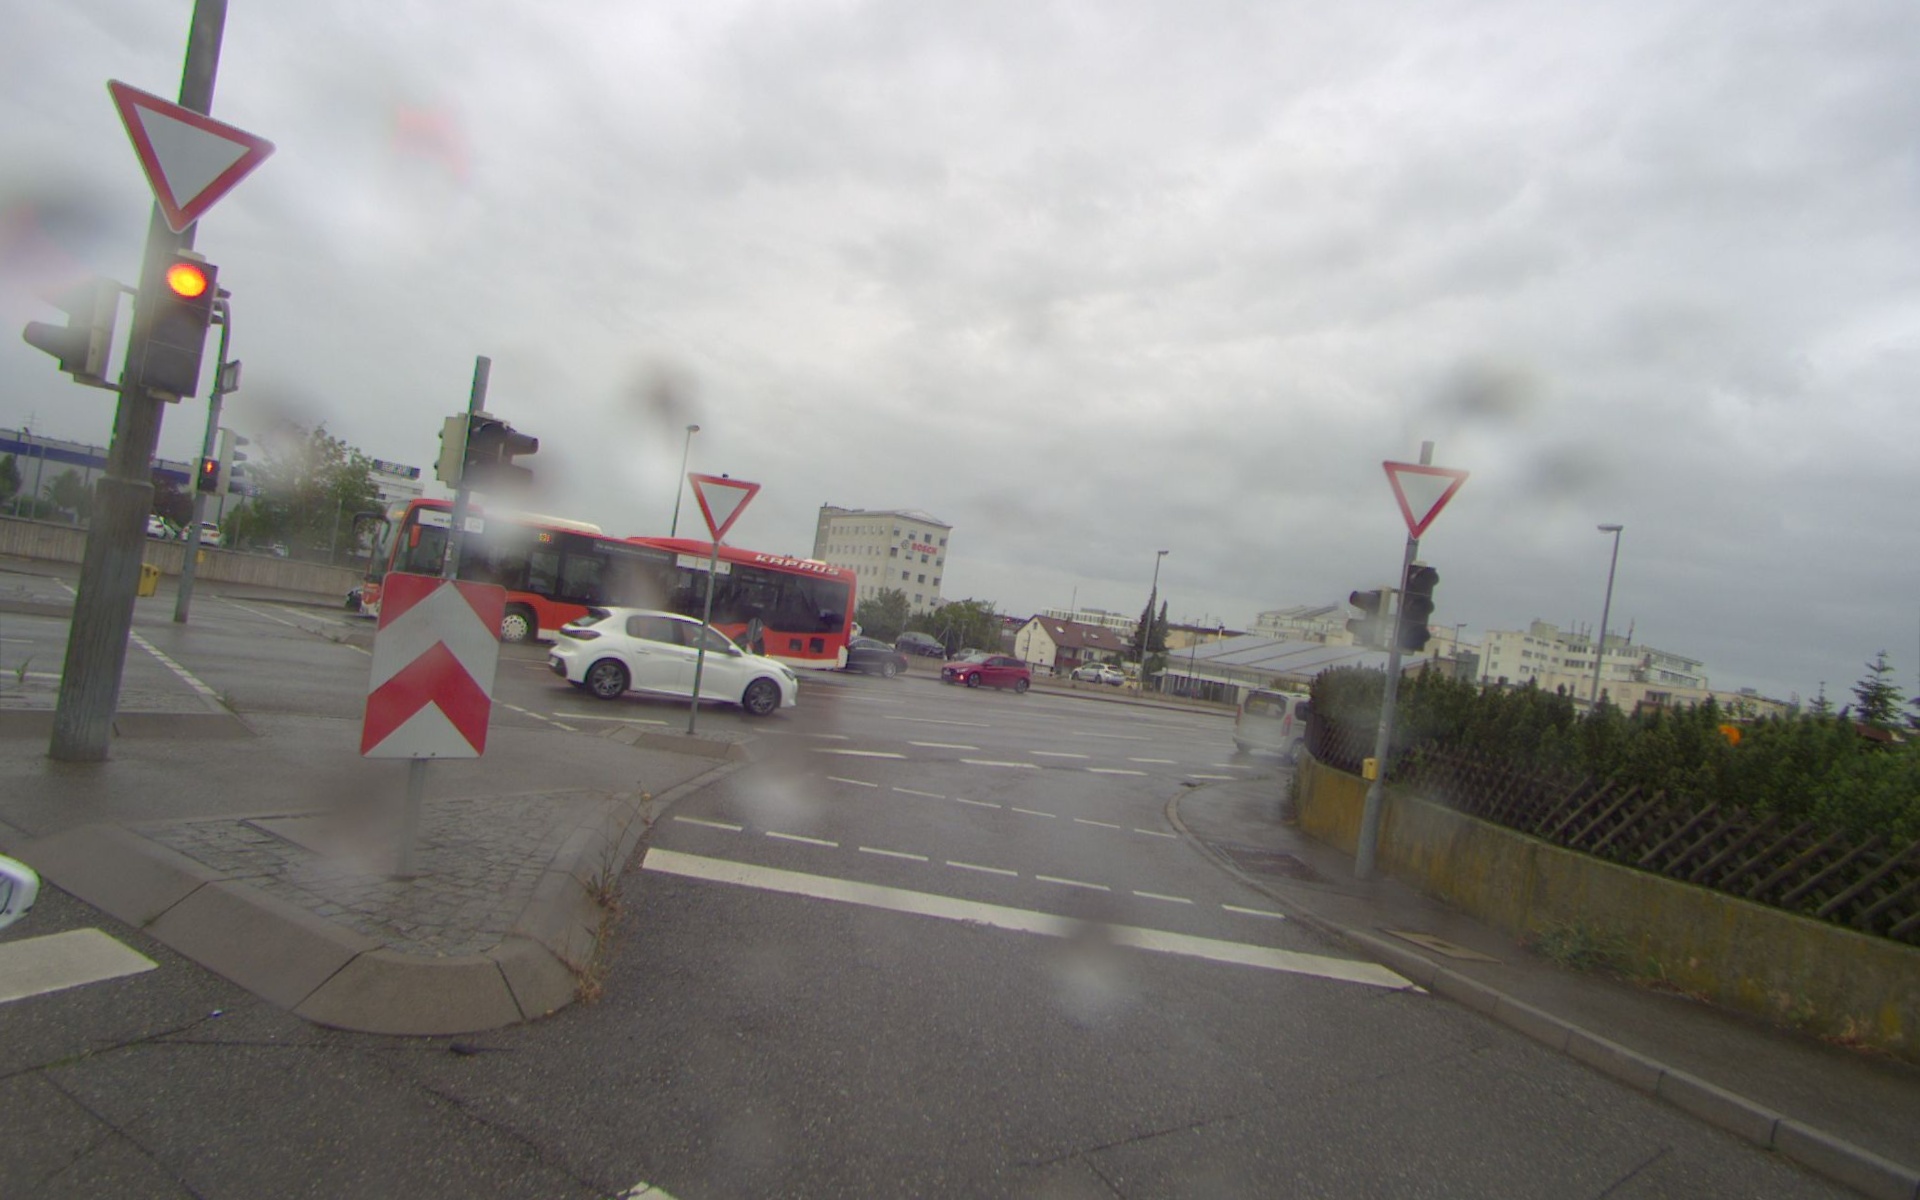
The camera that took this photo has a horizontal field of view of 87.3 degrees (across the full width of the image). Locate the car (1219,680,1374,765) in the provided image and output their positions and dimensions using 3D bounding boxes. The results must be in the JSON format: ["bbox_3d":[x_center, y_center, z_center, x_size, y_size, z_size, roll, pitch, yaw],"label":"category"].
[{"bbox_3d":[9.361,3.421,27.834,4.455,1.865,1.977,9,-2,-42],"label":"car"}]

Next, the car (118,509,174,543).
[{"bbox_3d":[-45.618,-4.113,56.451,1.805,1.450,4.071,8,-2,-32],"label":"car"}]

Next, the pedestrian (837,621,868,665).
[{"bbox_3d":[-4.608,1.841,43.060,0.819,1.723,0.893,8,-1,-30],"label":"pedestrian"}]

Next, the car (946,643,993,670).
[{"bbox_3d":[0.775,4.685,83.734,1.980,1.636,3.970,9,-2,-30],"label":"car"}]

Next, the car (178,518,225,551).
[{"bbox_3d":[-43.831,-3.759,58.219,1.847,1.543,4.066,8,-2,-35],"label":"car"}]

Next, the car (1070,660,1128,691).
[{"bbox_3d":[9.648,5.220,70.122,1.976,1.561,3.977,9,-2,-25],"label":"car"}]

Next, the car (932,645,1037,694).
[{"bbox_3d":[1.046,2.914,42.071,3.948,1.525,1.853,9,-2,-36],"label":"car"}]

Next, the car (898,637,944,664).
[{"bbox_3d":[-3.192,4.068,81.447,1.980,1.636,3.970,9,-2,-30],"label":"car"}]

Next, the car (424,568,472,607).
[{"bbox_3d":[-30.886,-0.766,60.646,1.734,2.037,3.786,8,-2,-37],"label":"car"}]

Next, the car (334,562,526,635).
[{"bbox_3d":[-14.821,-0.011,28.289,4.367,1.370,1.804,10,-3,-42],"label":"car"}]

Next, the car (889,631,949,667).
[{"bbox_3d":[-2.550,2.980,61.664,1.912,1.684,3.869,9,-2,-29],"label":"car"}]

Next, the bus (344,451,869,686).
[{"bbox_3d":[-8.302,-0.395,25.834,12.223,3.614,2.952,12,-4,-41],"label":"bus"}]

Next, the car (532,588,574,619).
[{"bbox_3d":[-32.028,0.280,79.044,1.983,2.037,3.962,8,-2,-36],"label":"car"}]

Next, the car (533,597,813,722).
[{"bbox_3d":[-4.685,0.995,16.597,3.945,1.525,1.855,9,-2,-34],"label":"car"}]

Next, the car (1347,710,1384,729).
[{"bbox_3d":[41.332,12.163,102.535,3.616,1.436,1.720,10,-2,-36],"label":"car"}]

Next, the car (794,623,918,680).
[{"bbox_3d":[-3.897,1.978,38.190,4.367,1.555,1.804,10,-3,-42],"label":"car"}]
